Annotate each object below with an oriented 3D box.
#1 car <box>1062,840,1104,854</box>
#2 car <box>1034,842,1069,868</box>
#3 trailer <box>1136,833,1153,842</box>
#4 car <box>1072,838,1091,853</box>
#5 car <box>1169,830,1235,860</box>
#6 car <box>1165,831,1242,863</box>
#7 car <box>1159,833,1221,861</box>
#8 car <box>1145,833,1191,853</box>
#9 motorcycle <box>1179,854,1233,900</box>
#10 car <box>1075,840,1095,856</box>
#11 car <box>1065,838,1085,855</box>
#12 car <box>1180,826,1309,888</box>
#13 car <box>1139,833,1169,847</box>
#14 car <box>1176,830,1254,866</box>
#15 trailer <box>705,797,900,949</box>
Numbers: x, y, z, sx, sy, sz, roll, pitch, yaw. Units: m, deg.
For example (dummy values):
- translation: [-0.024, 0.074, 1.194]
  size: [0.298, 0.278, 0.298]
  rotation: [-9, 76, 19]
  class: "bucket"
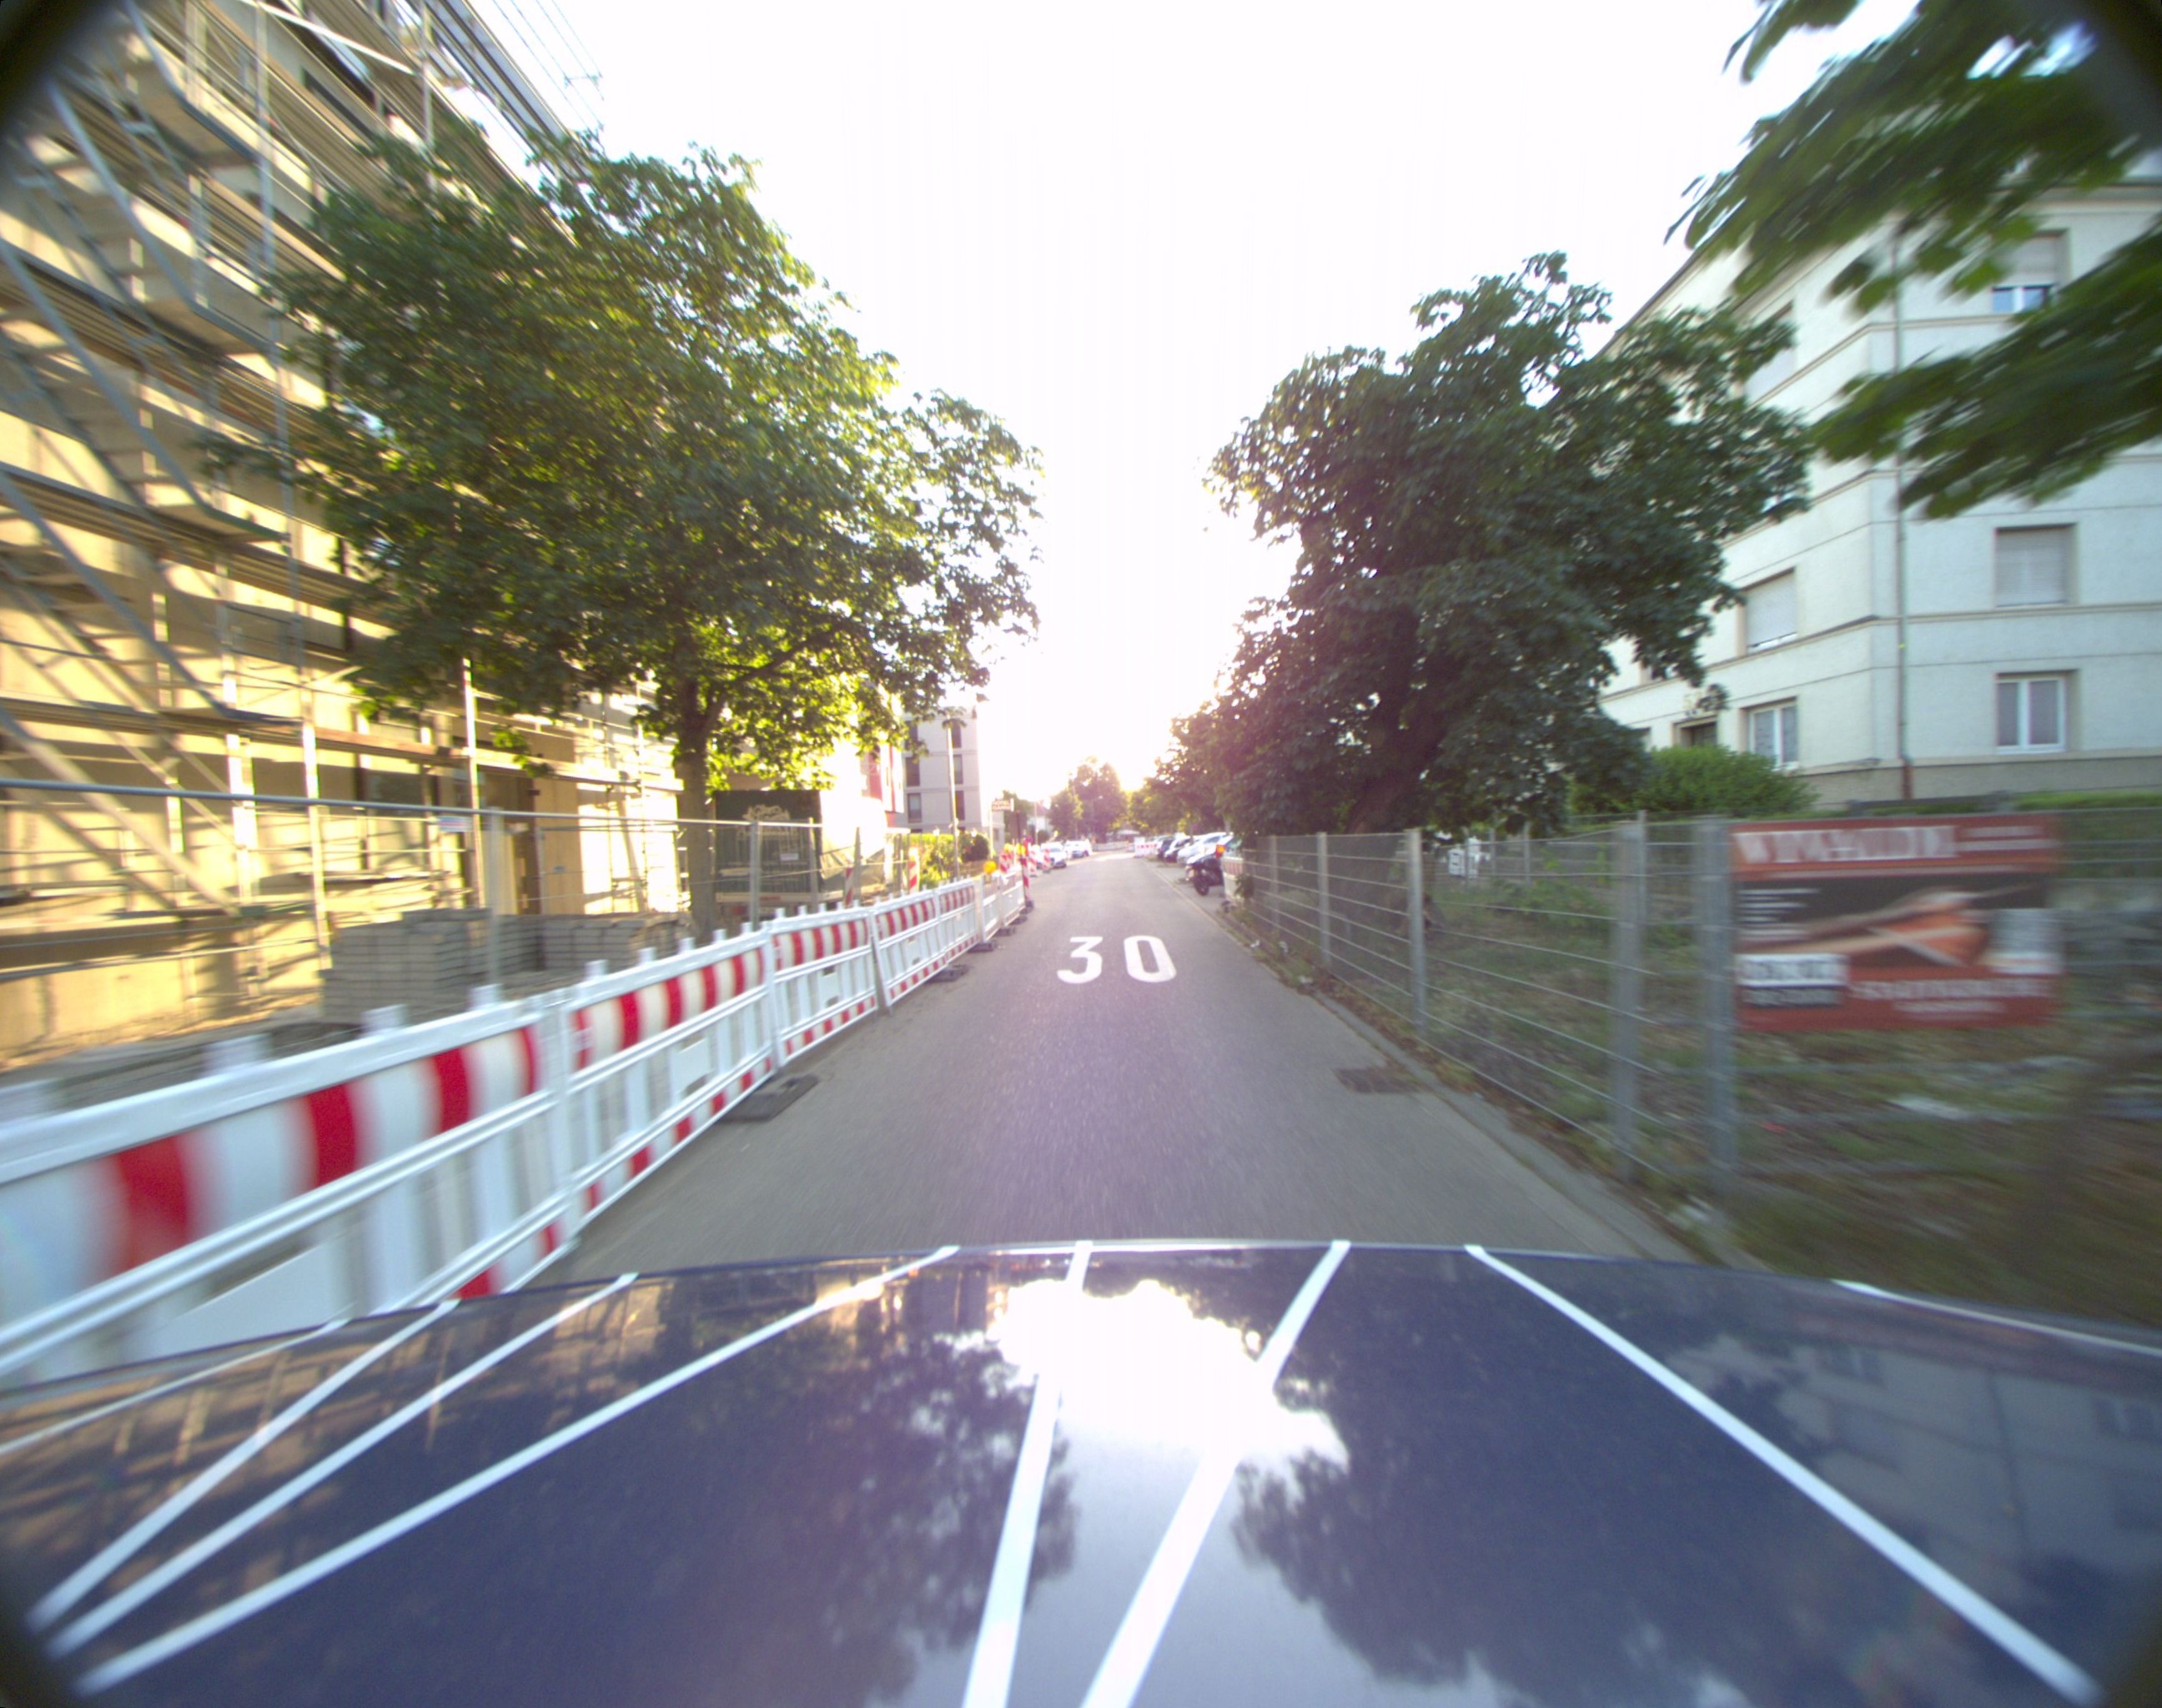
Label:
- translation: [0.256, -0.810, 88.063]
  size: [4.829, 1.390, 1.770]
  rotation: [-1, 1, 3]
  class: "car"
- translation: [-1.770, 0.030, 46.587]
  size: [1.780, 1.389, 4.107]
  rotation: [-3, 1, 2]
  class: "car"
- translation: [15.722, -4.095, 188.003]
  size: [3.682, 2.057, 2.002]
  rotation: [-3, 1, 16]
  class: "trailer"
- translation: [0.068, -0.908, 79.366]
  size: [1.744, 1.461, 3.759]
  rotation: [-3, 1, 4]
  class: "car"
- translation: [7.114, -0.522, 44.851]
  size: [3.685, 1.476, 1.728]
  rotation: [-4, 2, 5]
  class: "car"
- translation: [6.697, -0.400, 41.804]
  size: [3.986, 1.481, 1.728]
  rotation: [-4, 2, 5]
  class: "car"
- translation: [6.766, -0.452, 47.498]
  size: [3.685, 1.437, 1.728]
  rotation: [-4, 2, 5]
  class: "car"
- translation: [7.613, -0.994, 66.648]
  size: [3.709, 1.475, 1.728]
  rotation: [-4, 1, 1]
  class: "car"
- translation: [3.410, 0.600, 20.585]
  size: [0.538, 1.015, 2.215]
  rotation: [-5, 1, 32]
  class: "motorcycle"
- translation: [0.422, -0.615, 73.838]
  size: [1.802, 1.461, 3.843]
  rotation: [-3, 1, 1]
  class: "car"
- translation: [-0.504, -0.715, 69.241]
  size: [1.618, 1.461, 3.996]
  rotation: [-3, 1, 1]
  class: "car"
- translation: [5.071, 0.089, 23.966]
  size: [3.632, 1.548, 1.693]
  rotation: [-6, 1, 3]
  class: "car"
- translation: [12.013, -2.312, 125.611]
  size: [4.784, 2.058, 2.001]
  rotation: [-3, 1, 7]
  class: "car"
- translation: [6.630, -0.316, 37.806]
  size: [3.484, 1.557, 1.727]
  rotation: [-4, 2, -2]
  class: "car"
- translation: [-5.273, 0.309, 15.095]
  size: [1.998, 2.525, 4.186]
  rotation: [-3, 1, 4]
  class: "trailer"
